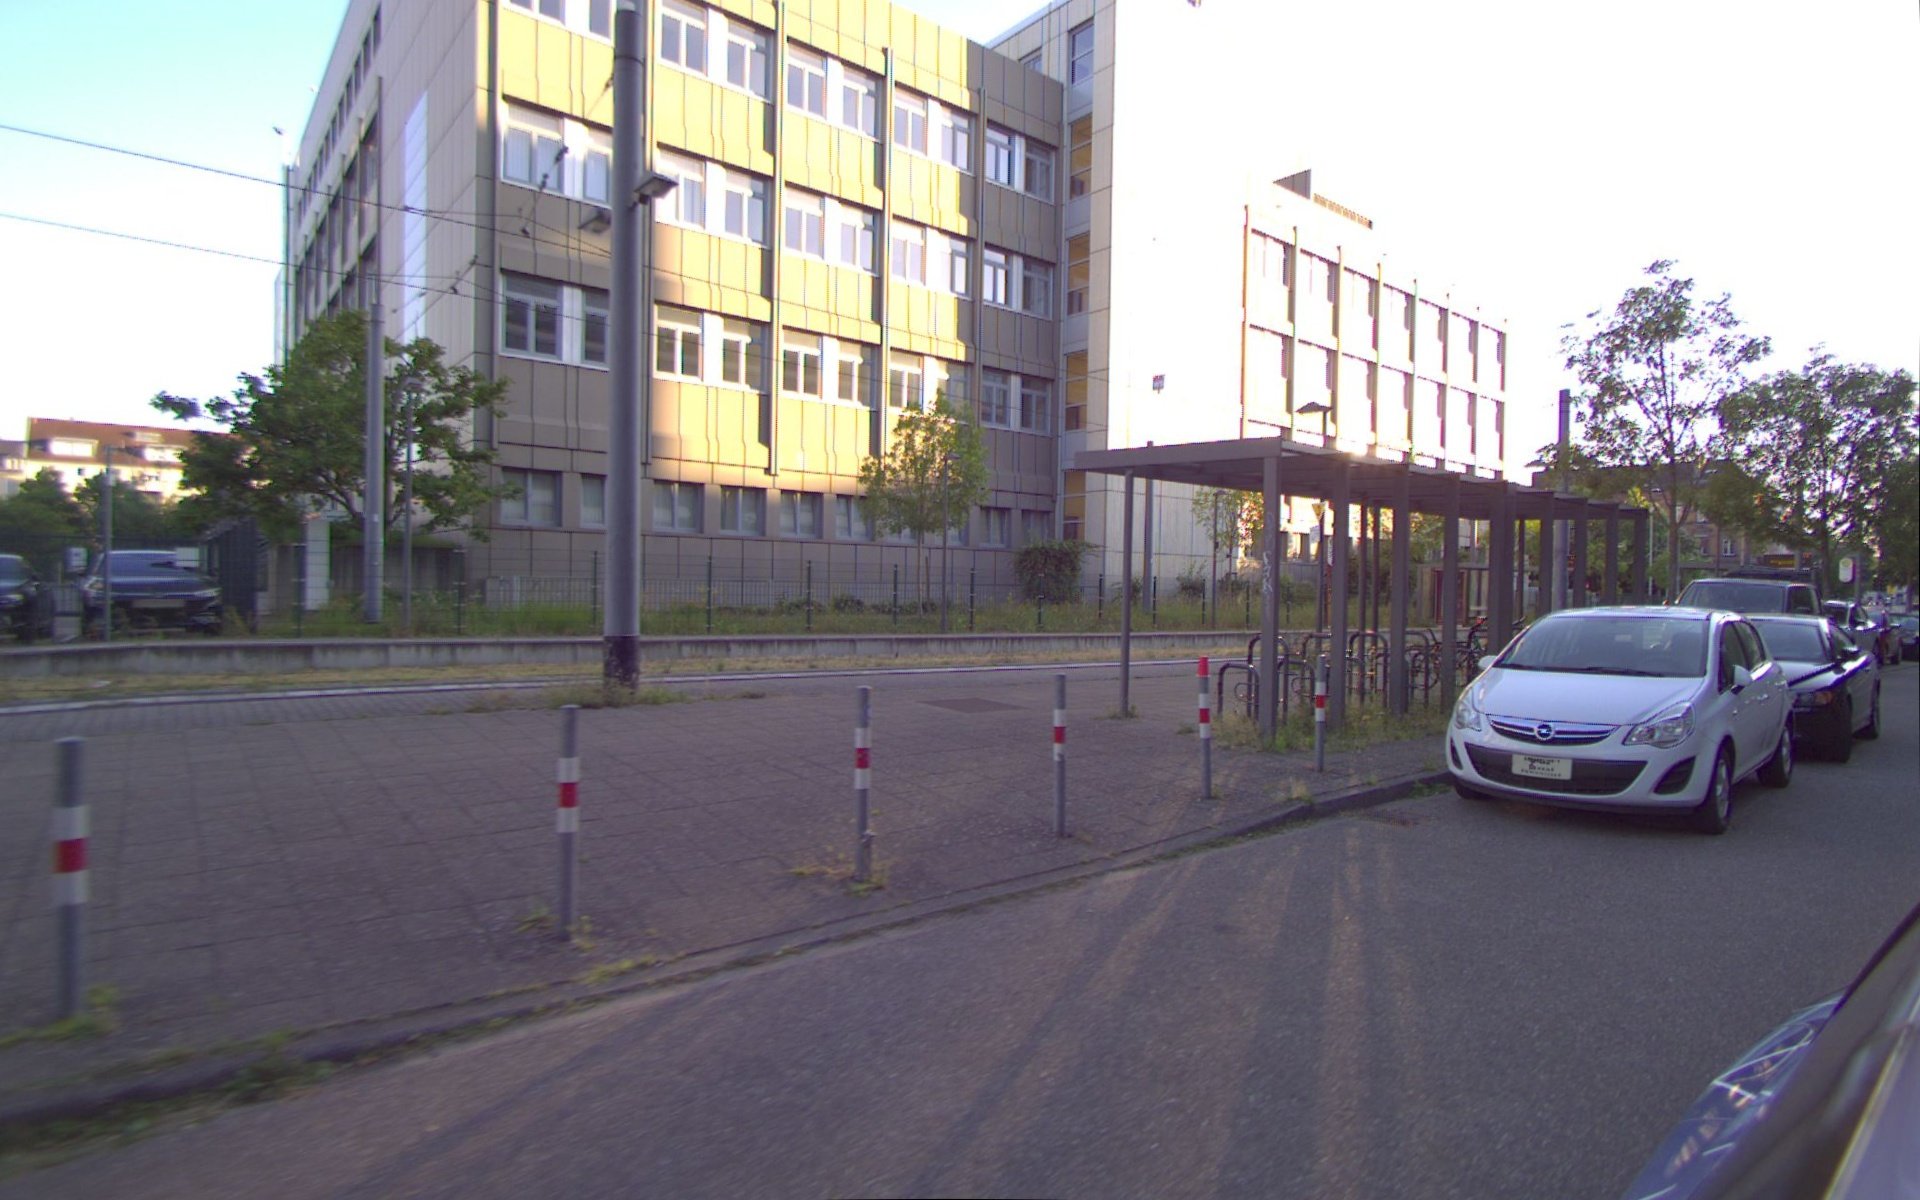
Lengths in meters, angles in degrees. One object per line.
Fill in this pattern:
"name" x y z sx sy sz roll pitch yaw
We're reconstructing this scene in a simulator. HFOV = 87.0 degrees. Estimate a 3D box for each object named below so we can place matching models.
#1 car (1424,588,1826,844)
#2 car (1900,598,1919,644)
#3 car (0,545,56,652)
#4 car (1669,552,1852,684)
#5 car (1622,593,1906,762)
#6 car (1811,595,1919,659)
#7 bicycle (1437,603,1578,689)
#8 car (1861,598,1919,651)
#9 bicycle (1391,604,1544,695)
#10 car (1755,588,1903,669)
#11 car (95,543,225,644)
"car" 5.365 0.671 7.930 4.116 1.470 1.678 0 1 -43
"car" 34.669 0.786 35.432 4.693 1.514 1.802 1 4 -39
"car" -15.916 -0.102 16.377 1.645 1.505 3.999 0 3 -38
"car" 15.440 0.275 19.423 4.652 2.203 1.808 0 3 -41
"car" 8.979 0.695 11.151 4.439 1.470 1.789 0 1 -43
"car" 24.496 0.686 27.246 4.058 1.511 1.711 0 3 -40
"bicycle" 7.768 0.624 14.435 0.413 1.079 1.723 0 2 -39
"car" 28.769 0.713 30.597 3.929 1.469 1.711 0 3 -40
"bicycle" 6.885 0.638 13.804 0.479 1.079 1.810 0 2 -39
"car" 19.942 0.594 23.158 4.397 1.599 1.712 0 3 -38
"car" -14.158 -0.194 17.964 1.645 1.505 3.999 0 3 -38
